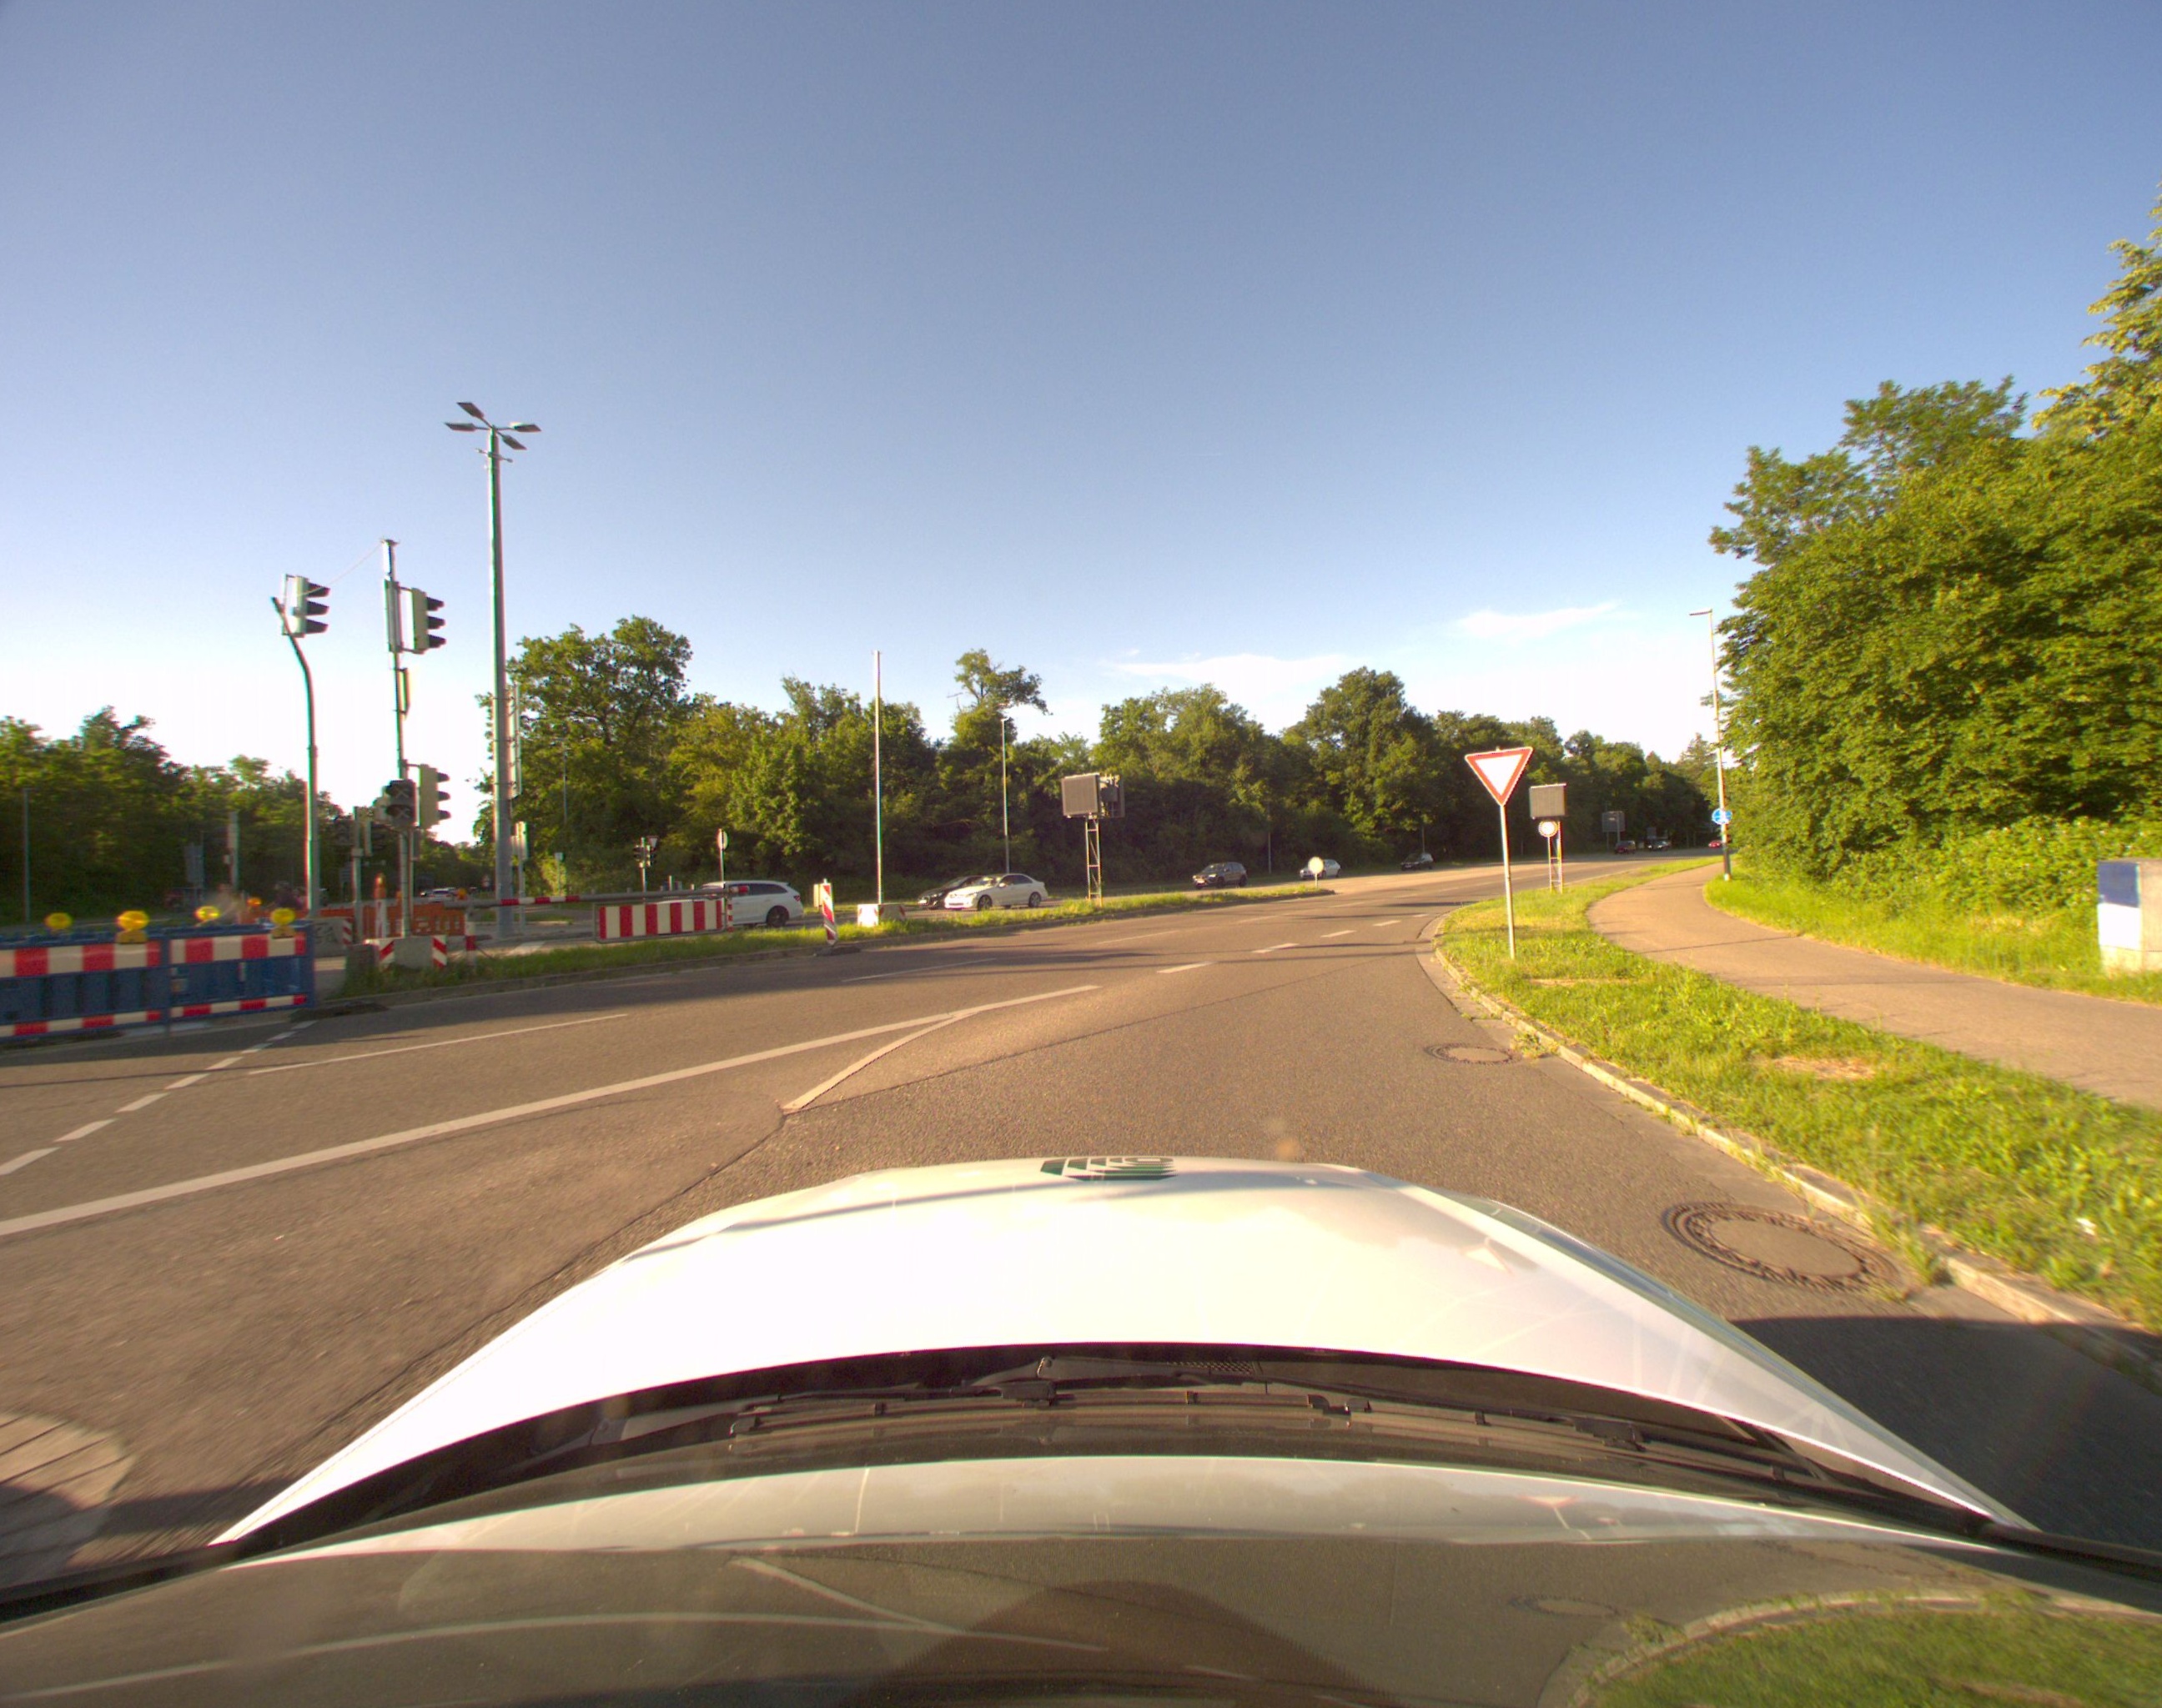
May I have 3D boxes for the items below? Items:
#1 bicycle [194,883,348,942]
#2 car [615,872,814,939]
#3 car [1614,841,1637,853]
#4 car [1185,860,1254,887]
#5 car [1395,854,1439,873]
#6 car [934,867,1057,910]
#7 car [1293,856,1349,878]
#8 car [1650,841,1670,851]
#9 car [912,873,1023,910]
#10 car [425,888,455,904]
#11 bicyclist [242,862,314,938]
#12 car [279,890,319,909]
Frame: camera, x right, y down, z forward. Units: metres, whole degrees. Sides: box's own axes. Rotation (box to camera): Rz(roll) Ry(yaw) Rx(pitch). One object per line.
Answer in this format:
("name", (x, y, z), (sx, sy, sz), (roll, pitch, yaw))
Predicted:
("bicycle", (-20.945, 1.476, 21.149), (0.957, 1.383, 2.654), (-1, -1, 22))
("car", (-10.481, 1.416, 23.640), (1.974, 1.580, 4.864), (-3, -1, 38))
("car", (78.246, -1.021, 116.928), (1.974, 1.529, 4.680), (-3, -1, 42))
("car", (8.733, 1.189, 50.998), (1.974, 1.529, 4.680), (-3, -1, 42))
("car", (30.345, 0.872, 73.475), (4.678, 1.529, 1.975), (-1, -1, -45))
("car", (-3.305, 1.332, 32.289), (1.974, 1.436, 4.838), (-3, -1, 39))
("car", (18.082, 0.975, 61.266), (1.975, 1.529, 4.679), (-3, -1, 44))
("car", (92.730, -1.346, 130.463), (1.974, 1.529, 4.680), (-3, -1, 42))
("car", (-4.976, 1.614, 36.162), (1.974, 1.384, 4.680), (-3, -1, 42))
("car", (-60.643, 3.973, 77.111), (1.954, 1.414, 3.957), (-2, -1, -35))
("bicyclist", (-20.922, 1.182, 21.226), (0.957, 1.930, 1.021), (-1, -1, 22))
("car", (-76.807, 4.478, 80.087), (2.007, 1.654, 4.205), (-1, -1, -32))
